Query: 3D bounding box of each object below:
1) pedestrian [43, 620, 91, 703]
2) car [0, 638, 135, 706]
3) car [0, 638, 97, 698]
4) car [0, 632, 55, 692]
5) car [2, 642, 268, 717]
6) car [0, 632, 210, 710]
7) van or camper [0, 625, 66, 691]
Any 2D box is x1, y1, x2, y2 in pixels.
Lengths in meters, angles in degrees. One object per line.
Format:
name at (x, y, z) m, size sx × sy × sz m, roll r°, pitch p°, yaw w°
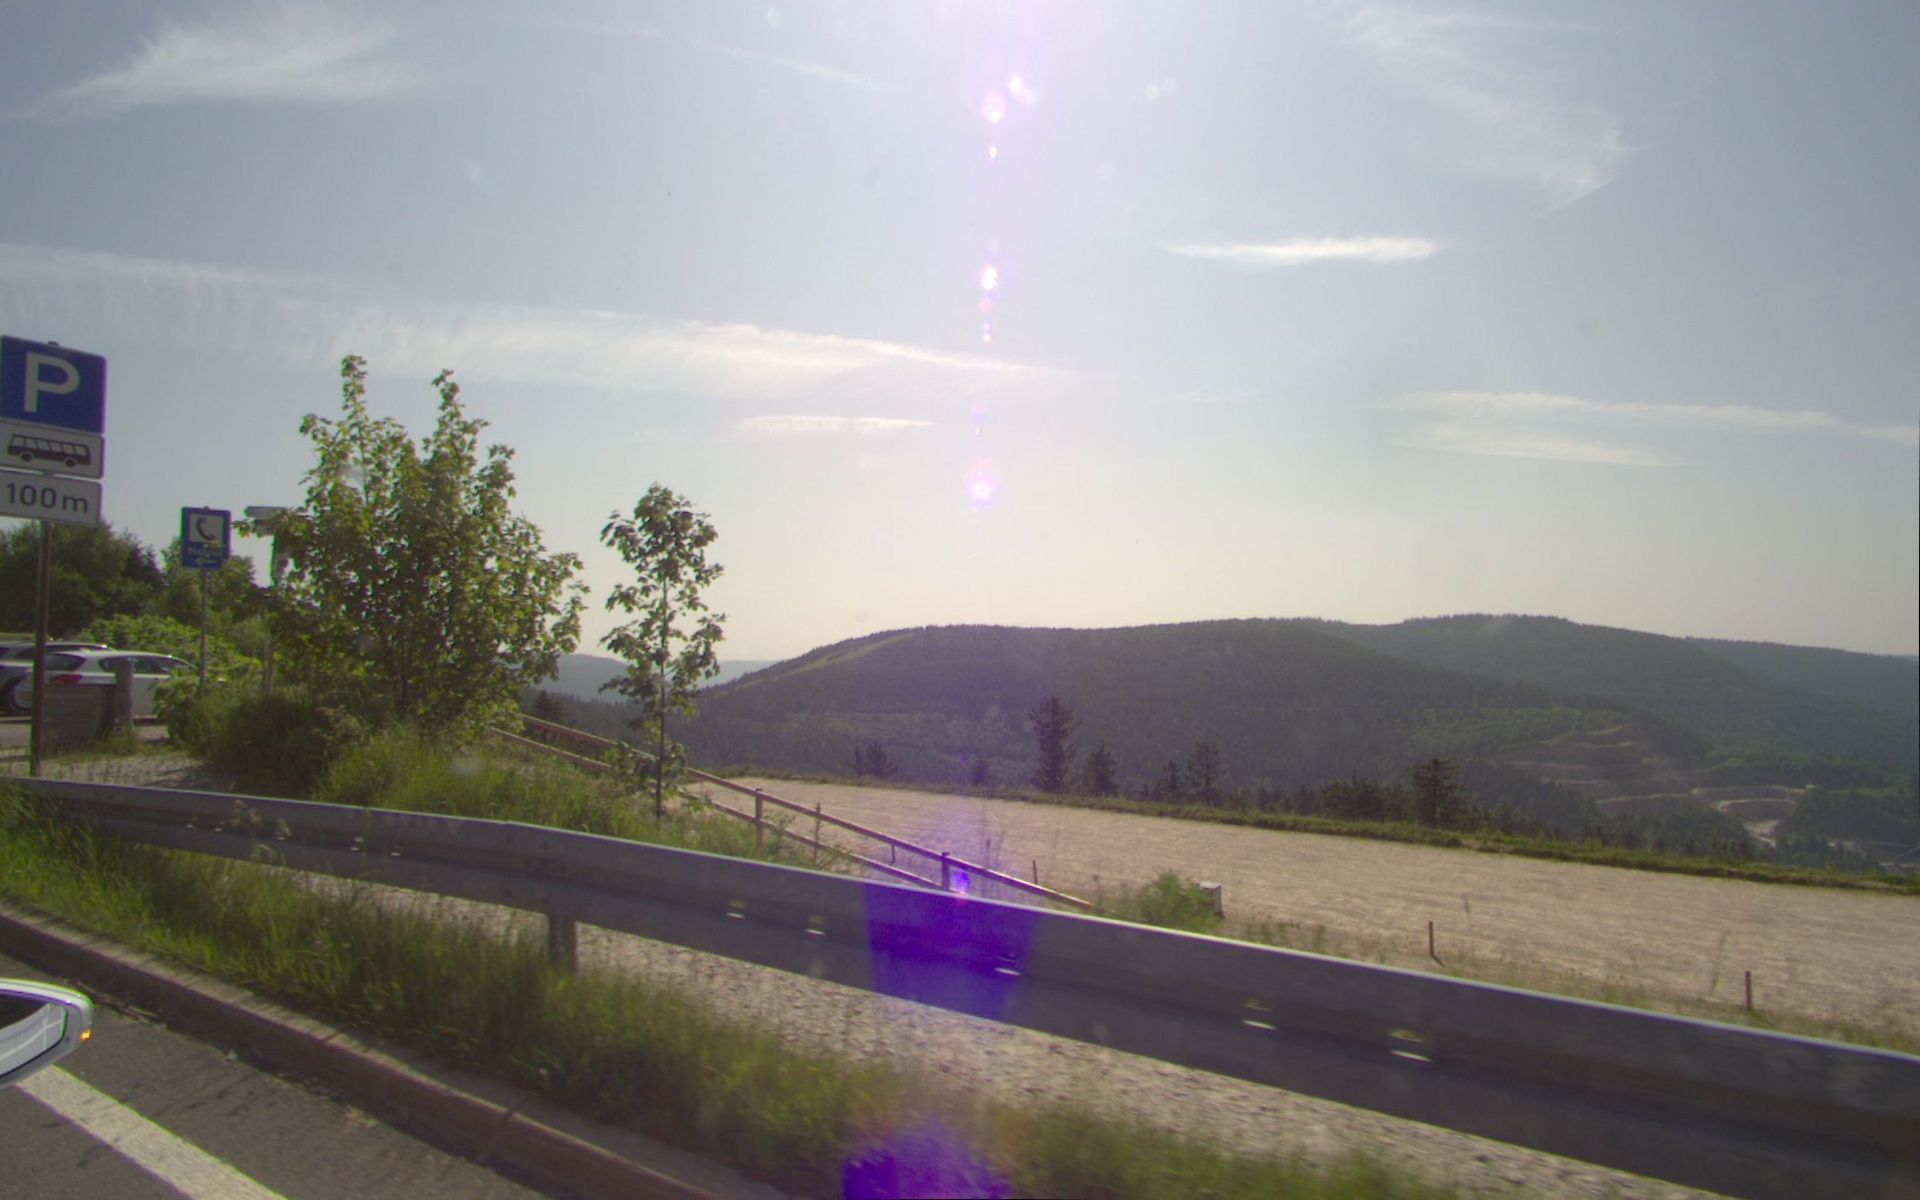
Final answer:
pedestrian at (-20.958, 1.452, 23.505) m, size 0.670 × 1.922 × 0.607 m, roll -2°, pitch -5°, yaw 36°
car at (-22.246, 1.688, 23.524) m, size 1.810 × 1.527 × 3.997 m, roll 0°, pitch -4°, yaw 20°
car at (-25.062, 1.750, 26.036) m, size 1.623 × 1.513 × 3.580 m, roll 0°, pitch -5°, yaw 30°
car at (-27.438, 1.656, 27.032) m, size 1.885 × 1.633 × 3.992 m, roll -1°, pitch -4°, yaw 24°
car at (-17.120, 1.672, 21.053) m, size 1.628 × 1.402 × 3.997 m, roll 0°, pitch -5°, yaw 20°
car at (-19.733, 1.599, 22.380) m, size 1.874 × 1.587 × 4.409 m, roll 0°, pitch -5°, yaw 19°
van or camper at (-31.743, 1.751, 31.442) m, size 1.856 × 2.037 × 5.086 m, roll -1°, pitch -6°, yaw 33°
